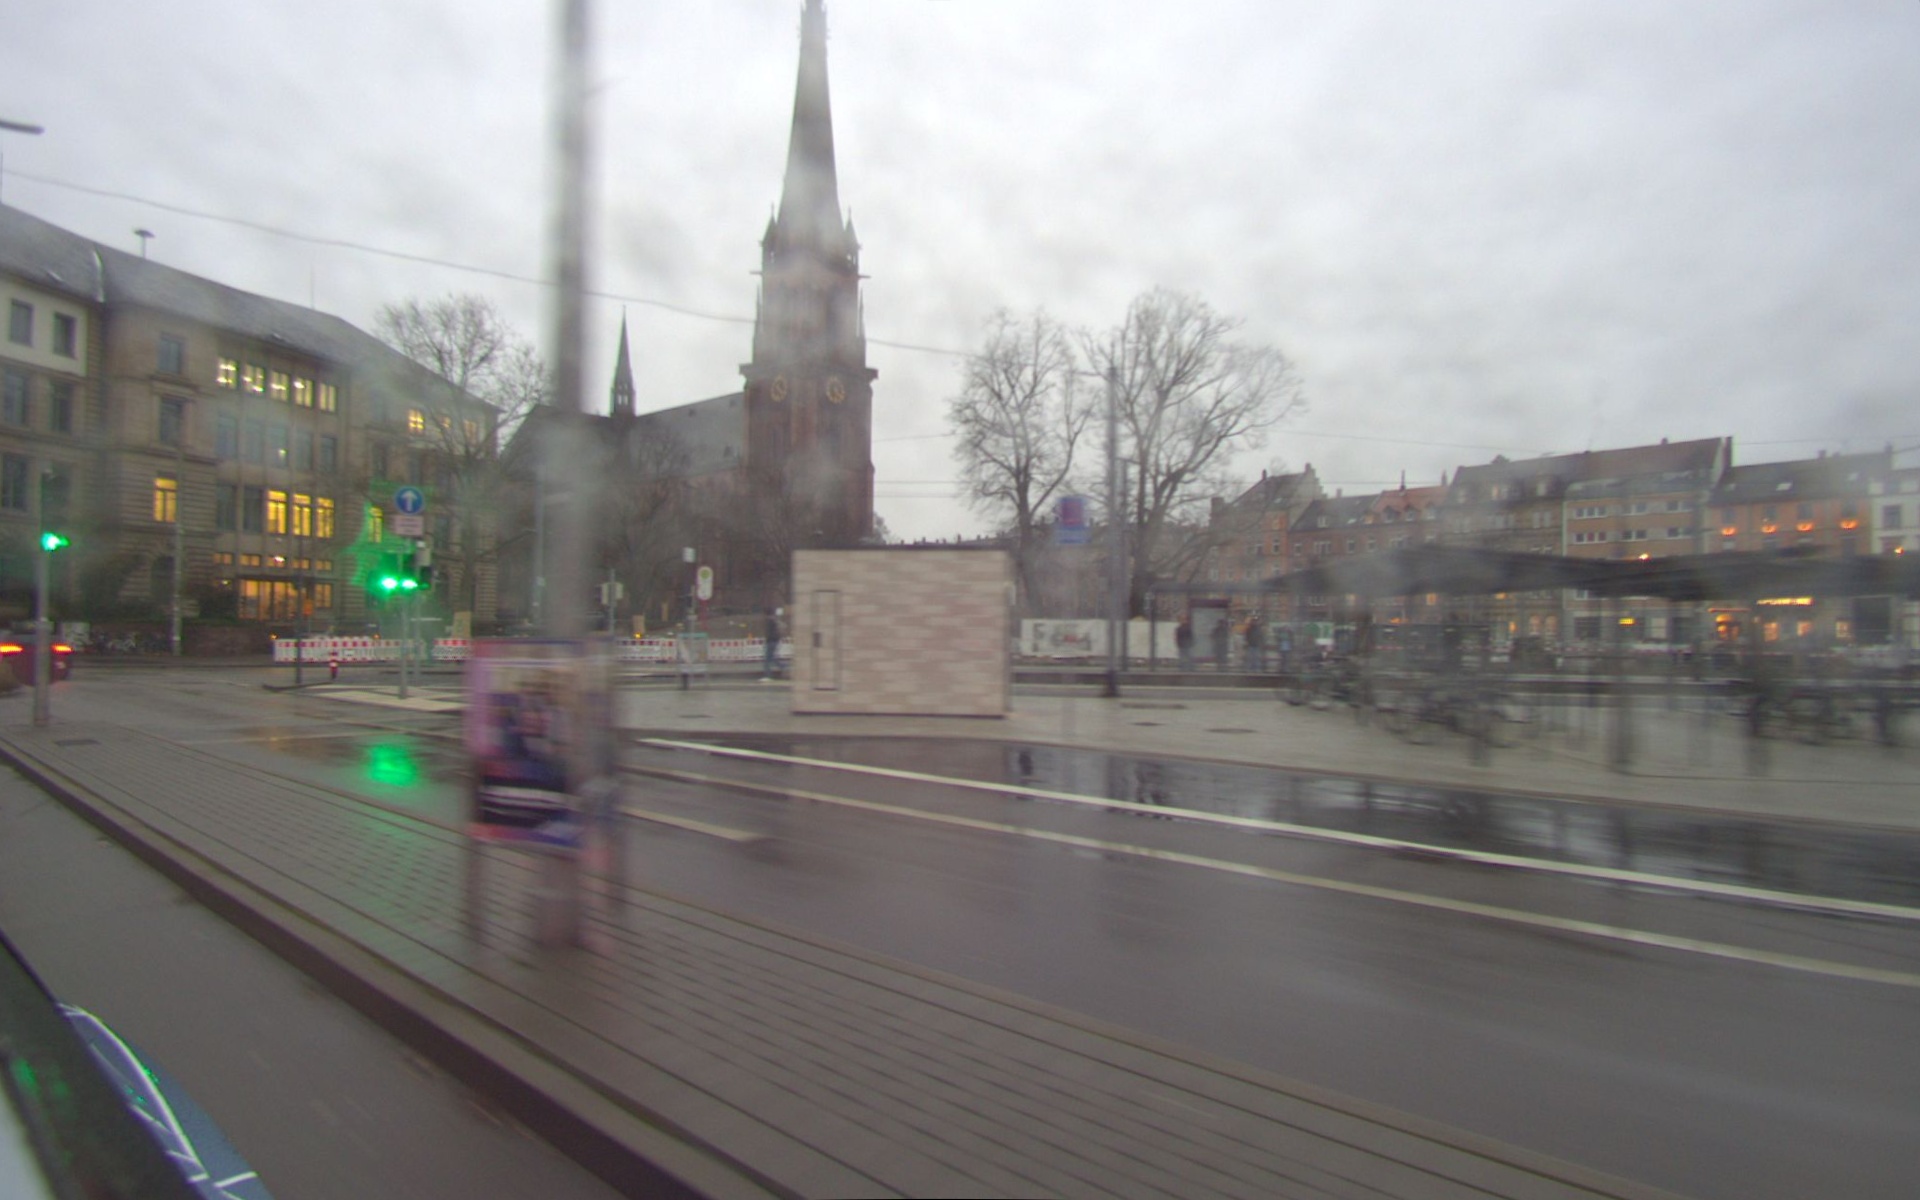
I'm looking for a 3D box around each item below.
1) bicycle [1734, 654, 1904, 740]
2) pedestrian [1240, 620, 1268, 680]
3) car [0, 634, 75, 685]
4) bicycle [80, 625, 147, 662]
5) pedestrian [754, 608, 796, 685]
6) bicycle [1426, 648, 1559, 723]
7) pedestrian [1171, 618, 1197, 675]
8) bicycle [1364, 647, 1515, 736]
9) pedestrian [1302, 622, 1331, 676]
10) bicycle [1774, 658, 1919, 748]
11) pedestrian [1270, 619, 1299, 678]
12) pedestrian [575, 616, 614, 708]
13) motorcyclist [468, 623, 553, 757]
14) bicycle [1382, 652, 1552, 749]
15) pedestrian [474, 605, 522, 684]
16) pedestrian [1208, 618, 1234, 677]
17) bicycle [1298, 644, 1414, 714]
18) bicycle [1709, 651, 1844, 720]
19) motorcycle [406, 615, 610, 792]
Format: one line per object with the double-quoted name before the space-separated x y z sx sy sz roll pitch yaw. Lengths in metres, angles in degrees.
"bicycle" 12.764 1.424 15.084 1.879 1.174 0.548 1 0 12
"pedestrian" 9.221 1.553 31.762 0.708 1.820 0.713 1 -1 7
"car" -27.576 1.730 29.844 4.366 1.389 1.727 -2 -4 43
"bicycle" -40.650 2.059 48.621 2.388 1.701 0.715 0 0 -33
"pedestrian" -4.491 1.116 24.618 0.817 1.827 0.602 1 0 13
"bicycle" 8.955 1.427 17.079 1.879 1.174 0.548 1 0 12
"pedestrian" 7.111 1.468 32.197 0.708 1.770 0.713 1 -1 7
"bicycle" 6.911 1.303 14.656 1.879 1.174 0.548 1 0 12
"pedestrian" 11.218 1.533 31.858 0.708 1.630 0.713 1 -1 7
"bicycle" 12.671 1.434 14.199 1.879 1.174 0.548 1 0 12
"pedestrian" 10.164 1.504 31.731 0.708 1.820 0.713 1 -1 7
"pedestrian" -6.952 1.166 19.282 0.663 1.686 0.732 0 0 -18
"motorcyclist" -4.286 0.829 9.653 0.611 1.202 0.530 1 0 41
"bicycle" 6.718 1.316 13.493 1.922 1.174 0.548 1 0 12
"pedestrian" -14.475 1.367 31.734 1.062 2.388 0.984 1 0 36
"pedestrian" 8.265 1.499 32.073 0.708 1.820 0.713 1 -1 7
"bicycle" 7.190 1.428 18.424 1.879 1.174 0.548 1 0 12
"bicycle" 14.974 1.556 18.597 1.879 1.174 0.548 1 0 12
"motorcycle" -4.379 0.916 9.713 2.312 1.509 0.821 -1 -3 39
